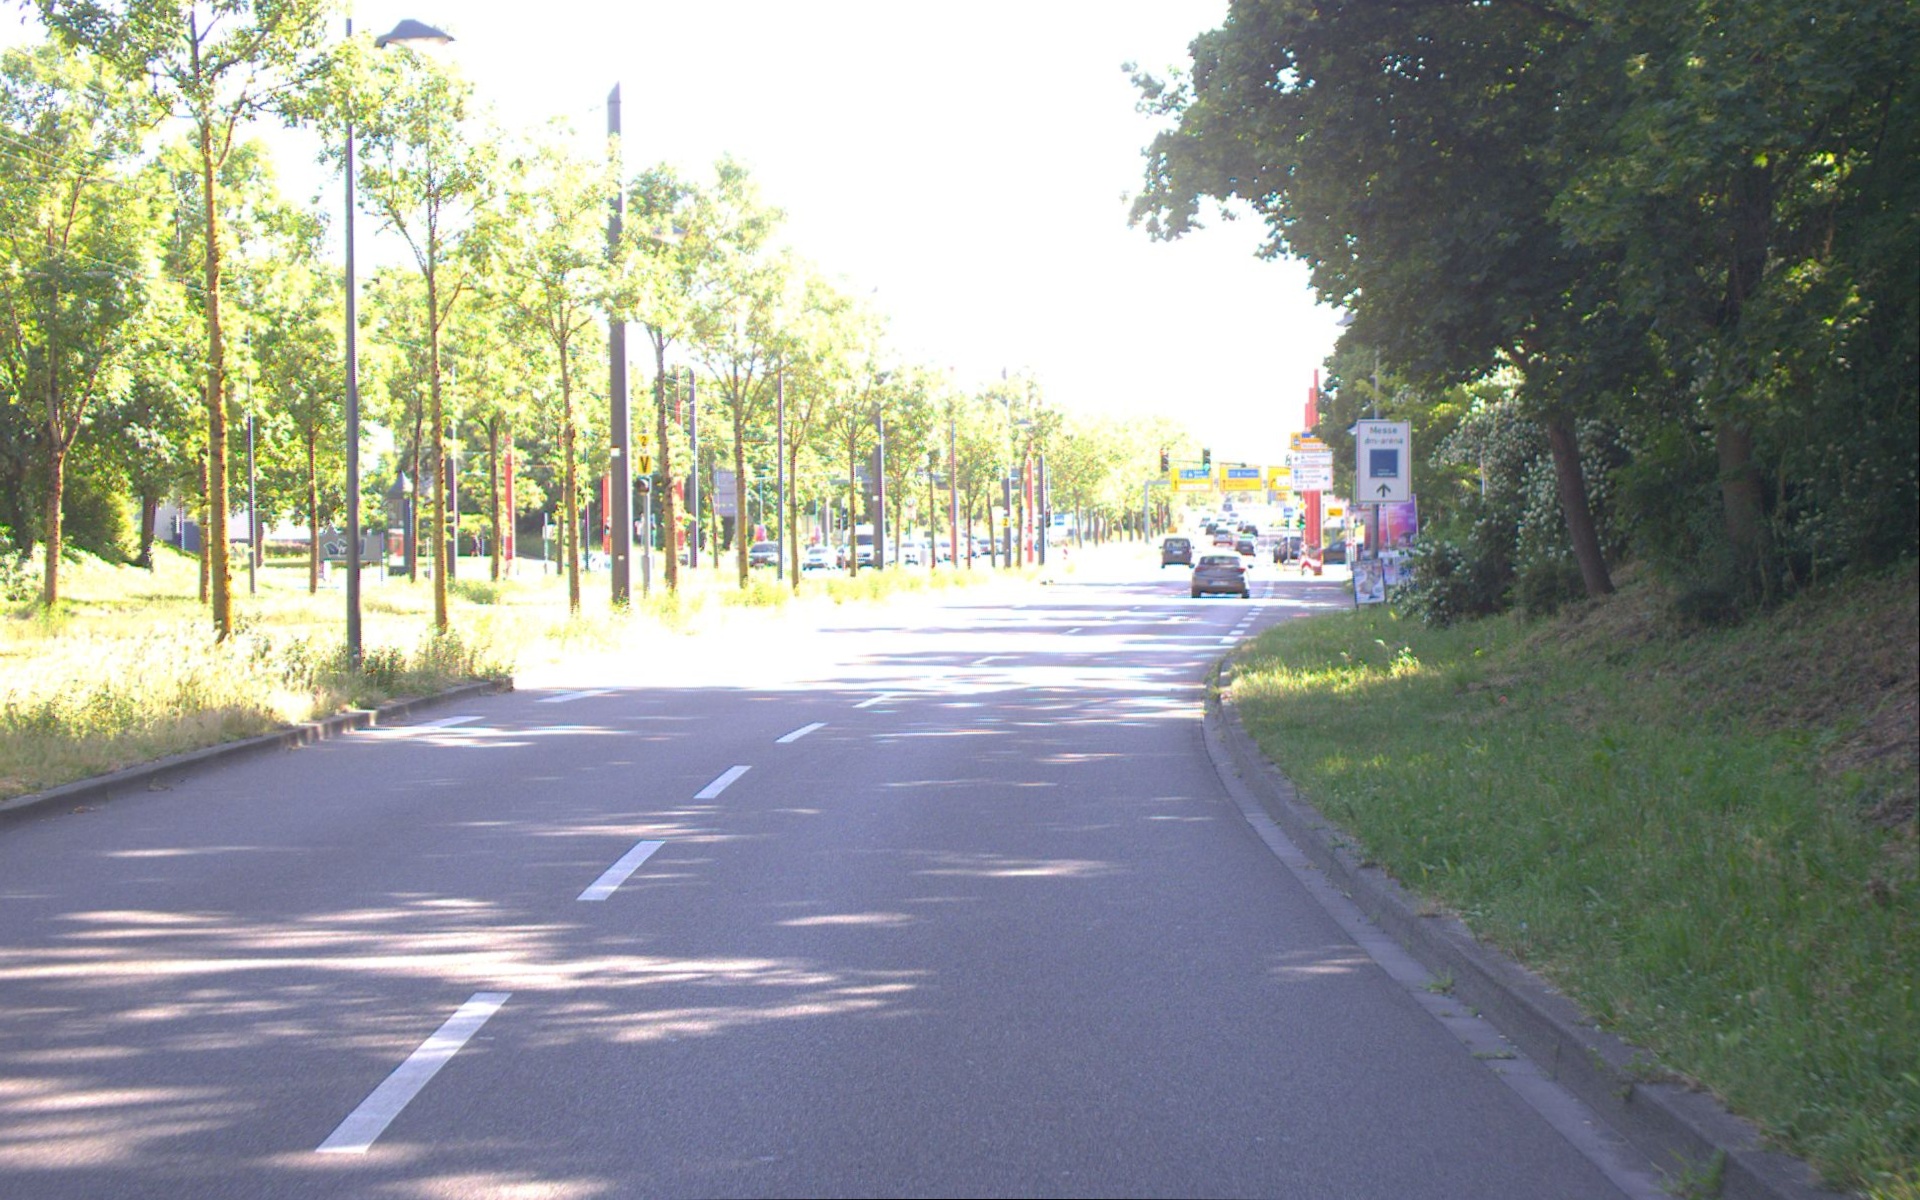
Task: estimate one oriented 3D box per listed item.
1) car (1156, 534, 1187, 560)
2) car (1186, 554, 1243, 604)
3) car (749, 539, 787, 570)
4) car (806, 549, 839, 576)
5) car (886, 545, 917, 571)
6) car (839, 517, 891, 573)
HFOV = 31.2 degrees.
[{"bbox_3d":[12.238,-3.062,198.654,1.634,1.493,4.234,0,1,6],"label":"car"},{"bbox_3d":[7.995,-0.669,107.797,1.634,1.493,4.234,0,1,6],"label":"car"},{"bbox_3d":[-10.664,-2.552,191.155,1.631,1.675,4.191,0,1,4],"label":"car"},{"bbox_3d":[-8.460,-2.317,211.580,1.631,1.675,4.191,0,1,4],"label":"car"},{"bbox_3d":[-3.812,-2.757,224.666,1.631,1.675,4.191,0,1,4],"label":"car"},{"bbox_3d":[-5.563,-3.238,202.220,2.465,3.228,6.134,0,1,4],"label":"car"}]
